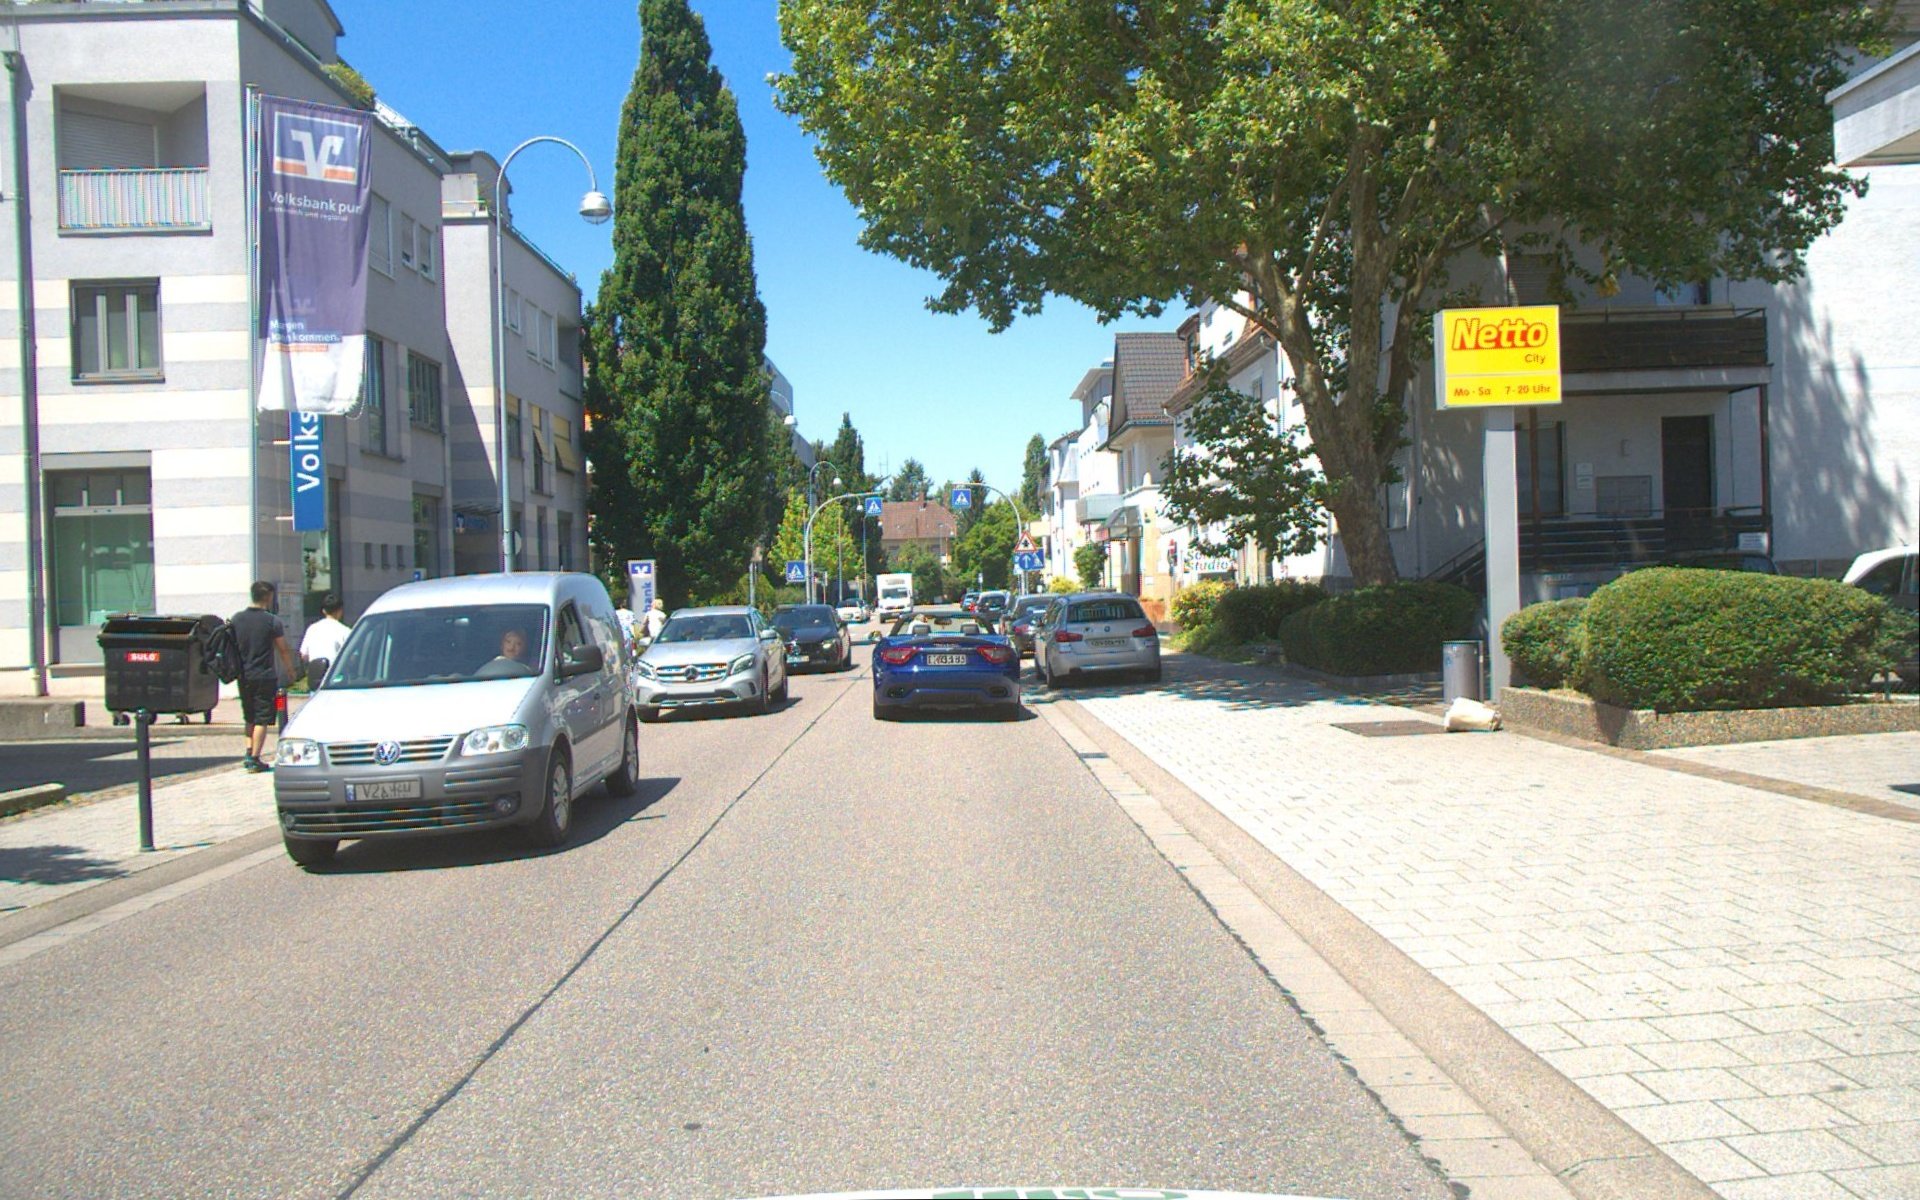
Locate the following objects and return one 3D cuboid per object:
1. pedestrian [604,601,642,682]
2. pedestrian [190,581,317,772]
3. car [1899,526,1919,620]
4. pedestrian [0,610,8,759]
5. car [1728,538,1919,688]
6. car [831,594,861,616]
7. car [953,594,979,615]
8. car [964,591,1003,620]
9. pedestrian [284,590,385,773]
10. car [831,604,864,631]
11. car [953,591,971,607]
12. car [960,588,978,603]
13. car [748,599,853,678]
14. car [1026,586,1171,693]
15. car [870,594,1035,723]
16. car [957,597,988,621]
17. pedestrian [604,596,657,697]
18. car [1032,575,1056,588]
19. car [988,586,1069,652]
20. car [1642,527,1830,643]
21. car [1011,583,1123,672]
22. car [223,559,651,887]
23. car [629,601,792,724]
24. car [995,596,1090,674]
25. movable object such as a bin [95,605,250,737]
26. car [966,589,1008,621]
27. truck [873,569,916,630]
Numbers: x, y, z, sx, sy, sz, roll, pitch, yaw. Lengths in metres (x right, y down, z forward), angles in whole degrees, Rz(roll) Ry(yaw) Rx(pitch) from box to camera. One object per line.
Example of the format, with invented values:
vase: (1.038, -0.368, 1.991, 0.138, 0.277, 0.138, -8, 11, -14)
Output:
pedestrian: (-6.863, 0.829, 33.675, 0.575, 1.602, 0.781, -2, 0, -2)
pedestrian: (-6.847, 0.730, 16.029, 0.803, 1.780, 0.883, -2, -3, 42)
car: (15.692, -0.472, 24.745, 1.805, 1.478, 4.003, -5, 0, 15)
pedestrian: (-10.923, 0.930, 18.144, 0.668, 1.652, 0.712, 0, -2, -17)
car: (10.257, 0.080, 16.973, 1.823, 1.478, 3.962, -4, 0, -28)
car: (-8.758, 0.362, 127.231, 1.911, 1.501, 4.137, -4, 0, -1)
car: (0.447, 0.343, 129.666, 1.911, 1.501, 4.136, -4, 0, -1)
car: (1.292, 0.288, 91.606, 1.911, 1.501, 4.136, -4, 0, -1)
pedestrian: (-6.060, 0.783, 16.071, 0.618, 1.720, 0.961, 0, -2, -1)
car: (-7.148, 1.101, 104.957, 1.912, 1.501, 4.135, -4, 0, -3)
car: (0.205, -0.101, 173.128, 1.734, 1.502, 4.136, -2, 0, -1)
car: (1.023, -0.507, 182.620, 1.911, 1.501, 4.138, -4, 0, 0)
car: (-3.424, 0.796, 36.242, 1.911, 1.501, 4.136, -4, 0, -1)
car: (2.235, 0.596, 27.773, 1.936, 1.475, 4.349, -4, 1, -1)
car: (-0.116, 0.693, 22.046, 1.936, 1.422, 4.627, -2, 1, -1)
car: (0.839, 0.617, 112.958, 1.911, 1.501, 4.136, -4, 0, -1)
pedestrian: (-6.707, 0.940, 33.666, 0.832, 1.948, 0.761, -3, 2, -3)
car: (10.843, -2.442, 214.039, 1.910, 1.501, 4.139, -3, 0, 20)
car: (1.858, 0.475, 46.187, 1.936, 1.583, 4.349, -4, 1, -1)
car: (11.629, -0.234, 25.056, 1.805, 1.478, 4.003, -5, 0, 15)
car: (2.172, 0.519, 34.663, 1.936, 1.583, 4.349, -4, 1, -1)
car: (-3.429, 0.685, 11.708, 1.734, 1.798, 4.136, -3, 1, -2)
car: (-3.508, 0.828, 23.940, 1.734, 1.501, 4.136, -3, 0, -1)
car: (1.933, 0.798, 40.015, 1.936, 1.583, 4.349, -4, 1, -1)
movable object such as a bin: (-10.144, 0.889, 21.373, 1.330, 1.520, 1.296, -4, 2, -5)
car: (1.370, 0.240, 84.707, 1.911, 1.501, 4.136, -4, 0, -1)
truck: (-4.146, -0.029, 104.111, 2.373, 3.542, 7.000, -3, 0, -3)
